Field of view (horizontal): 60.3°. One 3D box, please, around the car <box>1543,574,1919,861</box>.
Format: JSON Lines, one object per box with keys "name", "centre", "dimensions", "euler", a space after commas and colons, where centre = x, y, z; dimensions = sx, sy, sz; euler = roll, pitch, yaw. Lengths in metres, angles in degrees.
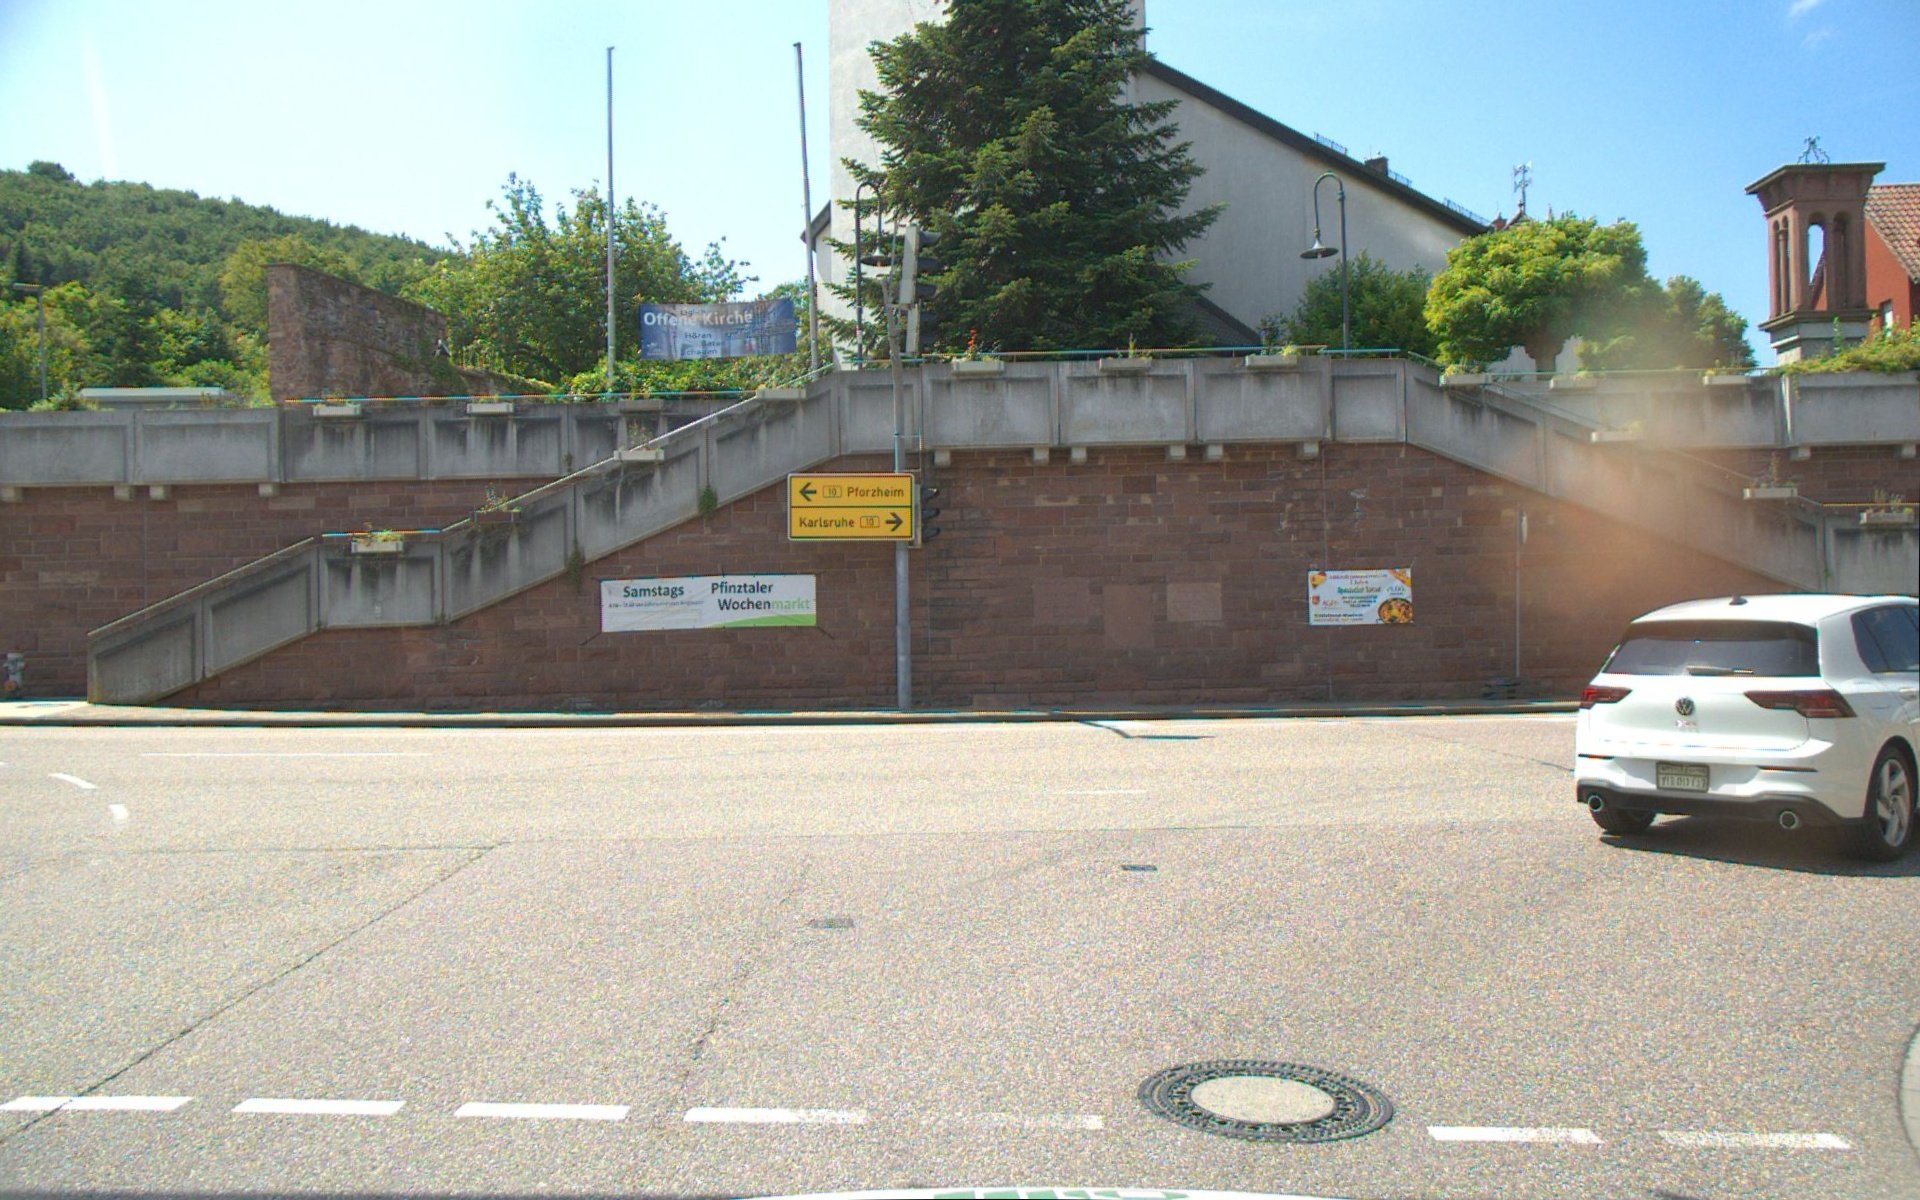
{"name": "car", "centre": [5.517, 0.618, 10.492], "dimensions": [3.828, 1.484, 1.762], "euler": [0, -1, -41]}
